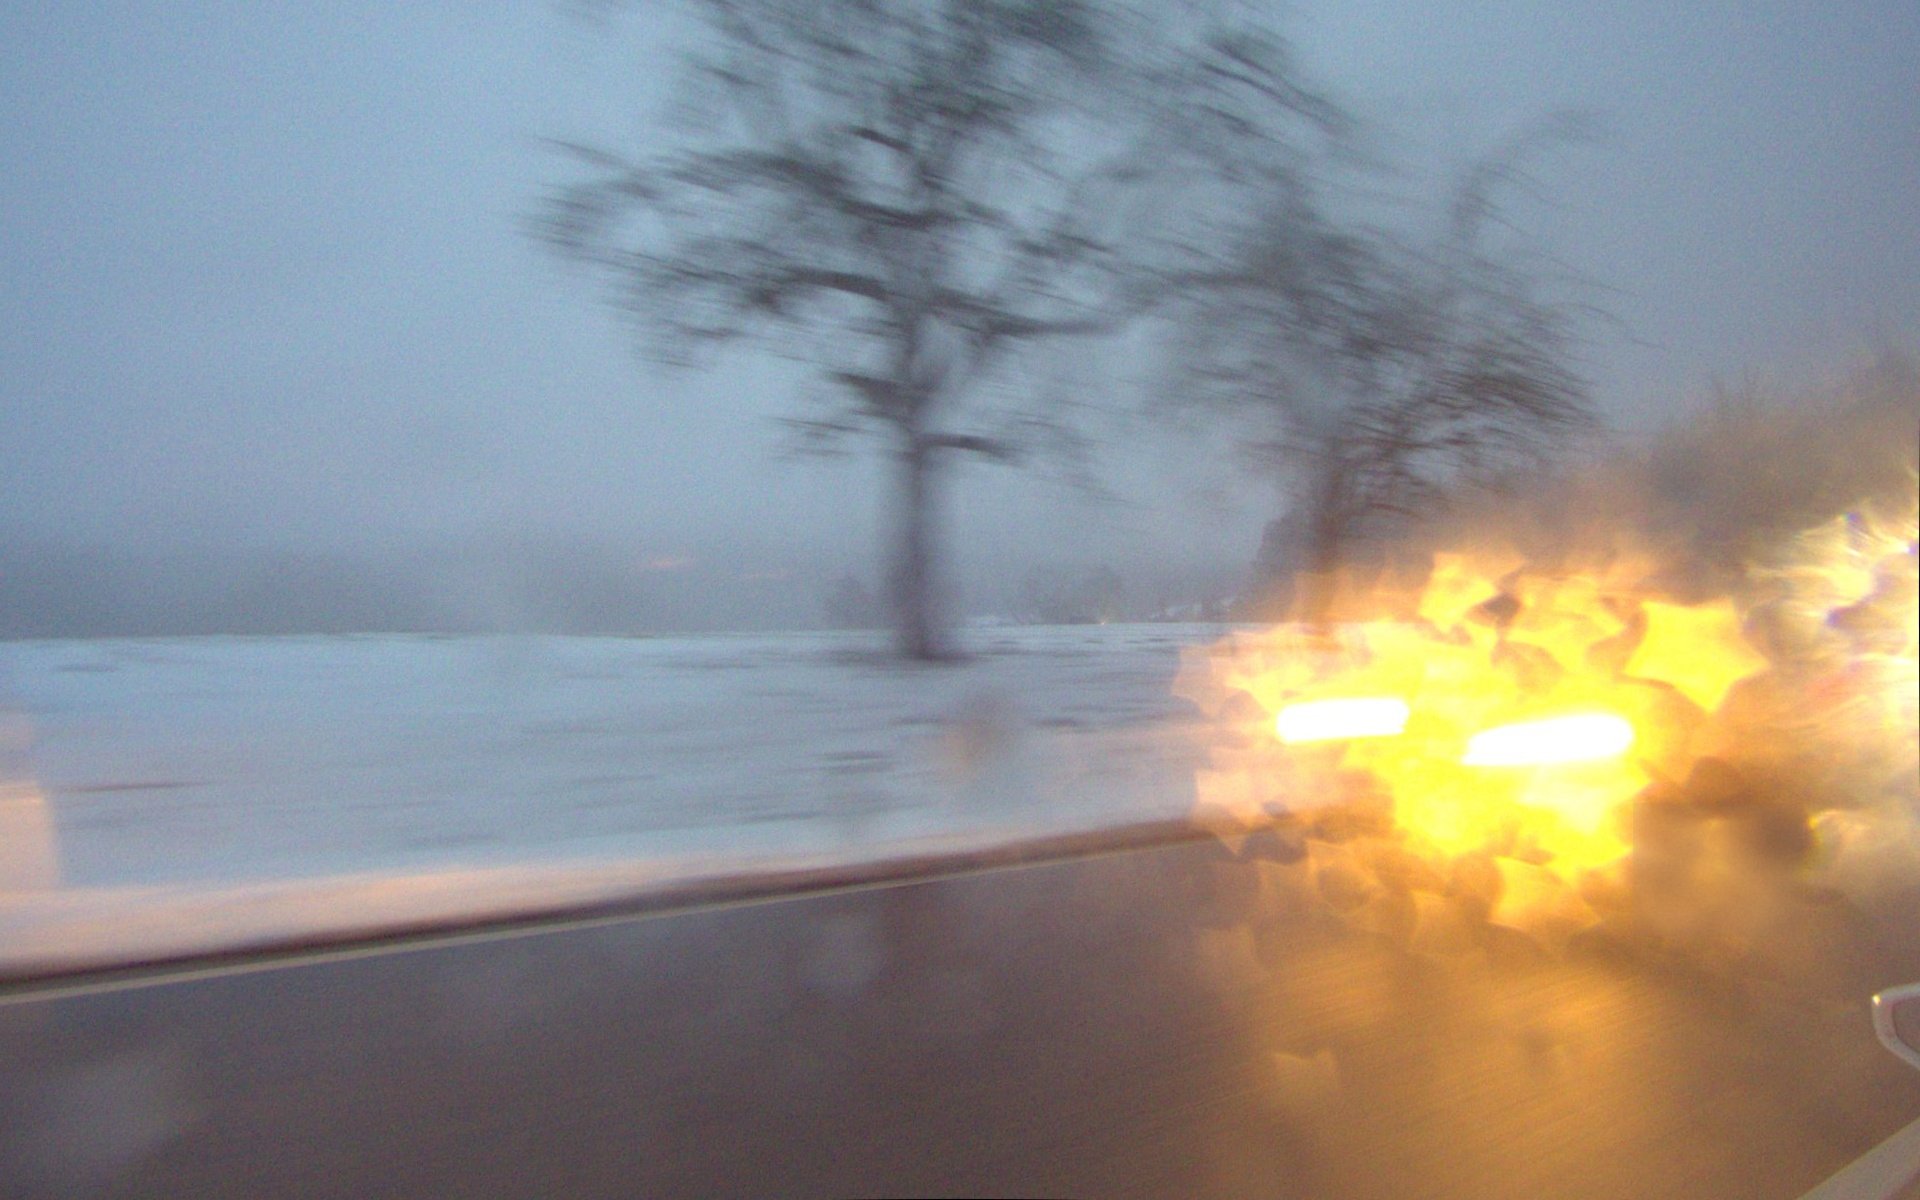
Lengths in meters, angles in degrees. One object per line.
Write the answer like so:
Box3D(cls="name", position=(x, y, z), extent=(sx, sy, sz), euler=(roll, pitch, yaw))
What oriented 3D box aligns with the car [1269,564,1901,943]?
Box3D(cls="car", position=(4.157, 0.722, 6.470), extent=(4.377, 1.716, 1.742), euler=(0, -1, -32))
